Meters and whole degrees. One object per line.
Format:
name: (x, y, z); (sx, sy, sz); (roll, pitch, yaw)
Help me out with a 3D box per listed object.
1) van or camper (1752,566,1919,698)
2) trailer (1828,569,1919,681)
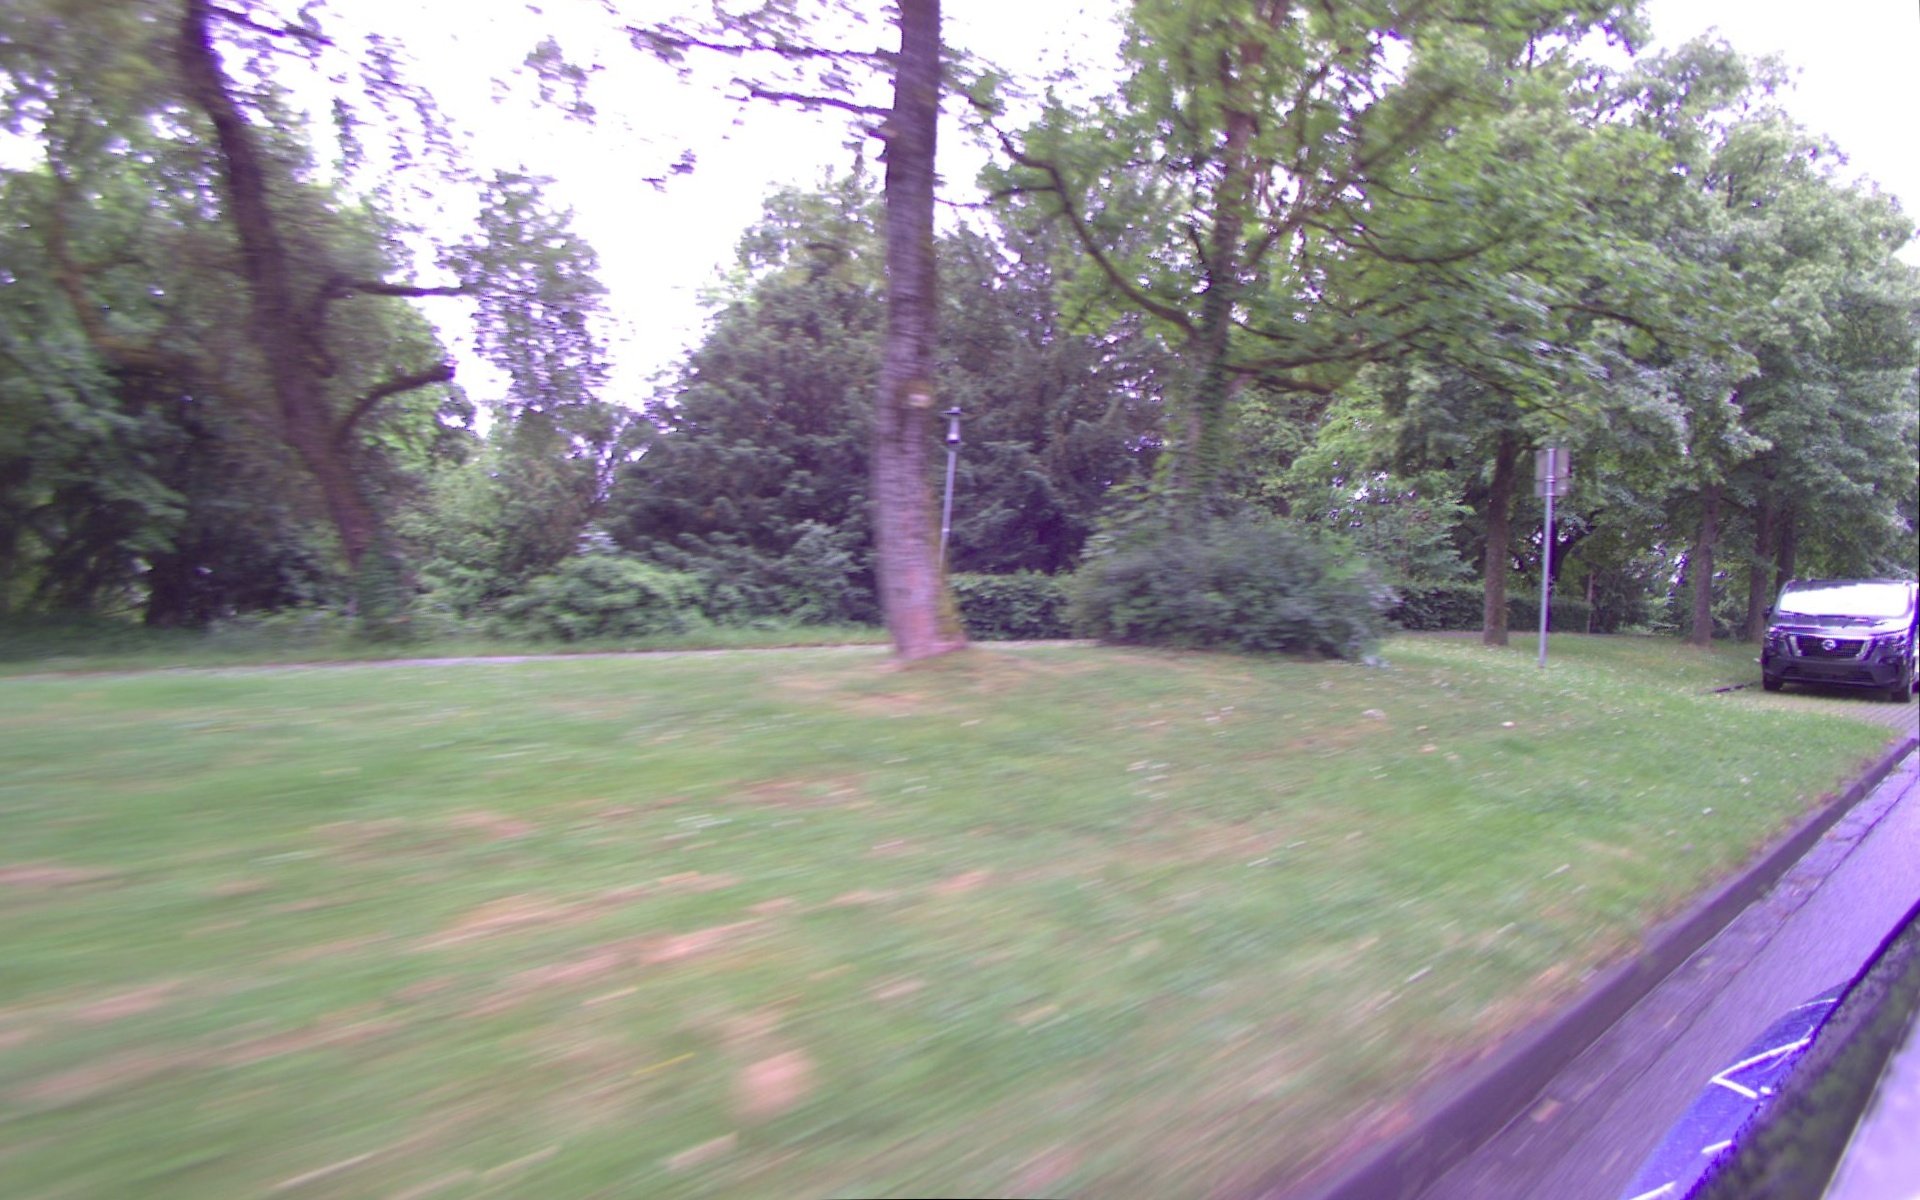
van or camper: (15.597, 0.485, 17.441); (5.565, 1.892, 1.998); (1, 2, -41)
trailer: (19.147, 0.481, 20.570); (3.882, 2.079, 1.700); (1, 1, -41)
